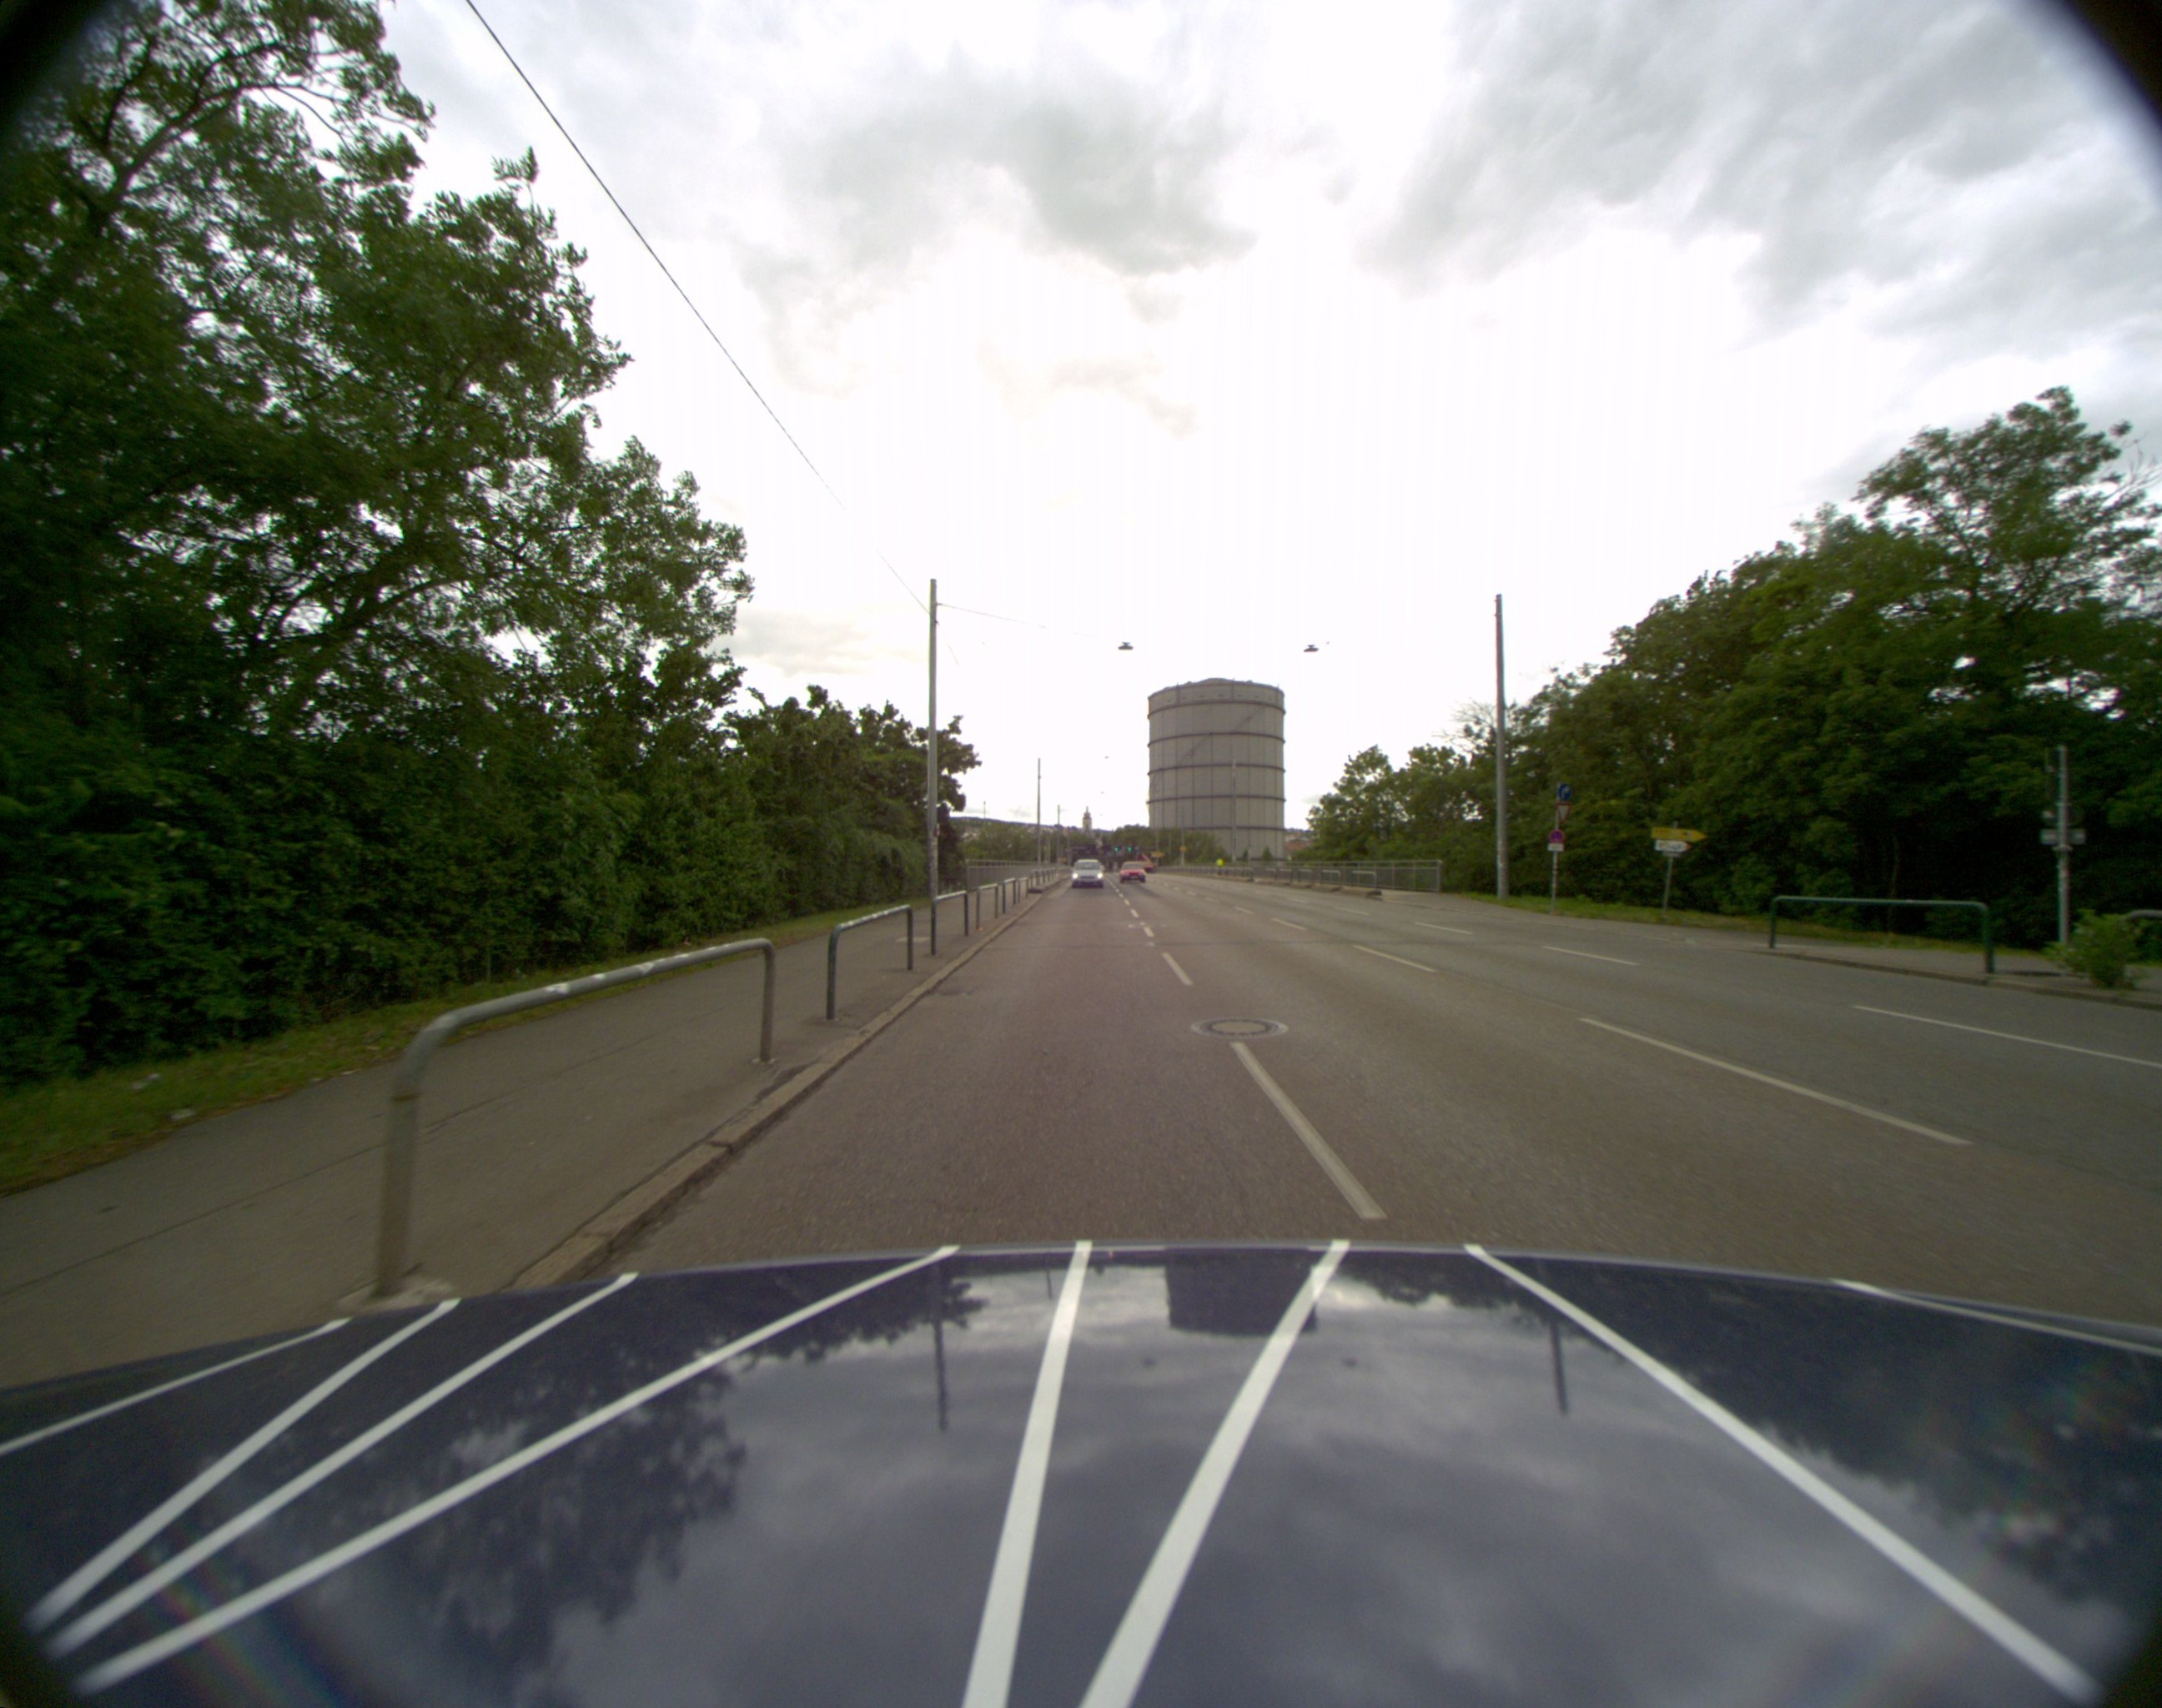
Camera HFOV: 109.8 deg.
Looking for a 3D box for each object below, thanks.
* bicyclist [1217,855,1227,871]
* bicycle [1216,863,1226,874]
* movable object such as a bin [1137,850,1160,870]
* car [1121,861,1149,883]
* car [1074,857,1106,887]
[{"bbox_3d":[13.763,0.869,74.153,0.627,1.467,0.670,-8,0,3],"label":"bicyclist"},{"bbox_3d":[13.644,1.407,74.181,0.636,1.058,1.983,-8,-1,4],"label":"bicycle"},{"bbox_3d":[11.909,0.996,134.462,3.463,3.303,9.359,1,0,1],"label":"movable object such as a bin"},{"bbox_3d":[3.723,1.223,52.824,1.696,1.434,4.000,1,0,1],"label":"car"},{"bbox_3d":[0.559,1.012,43.765,1.771,1.565,4.000,0,1,1],"label":"car"}]
